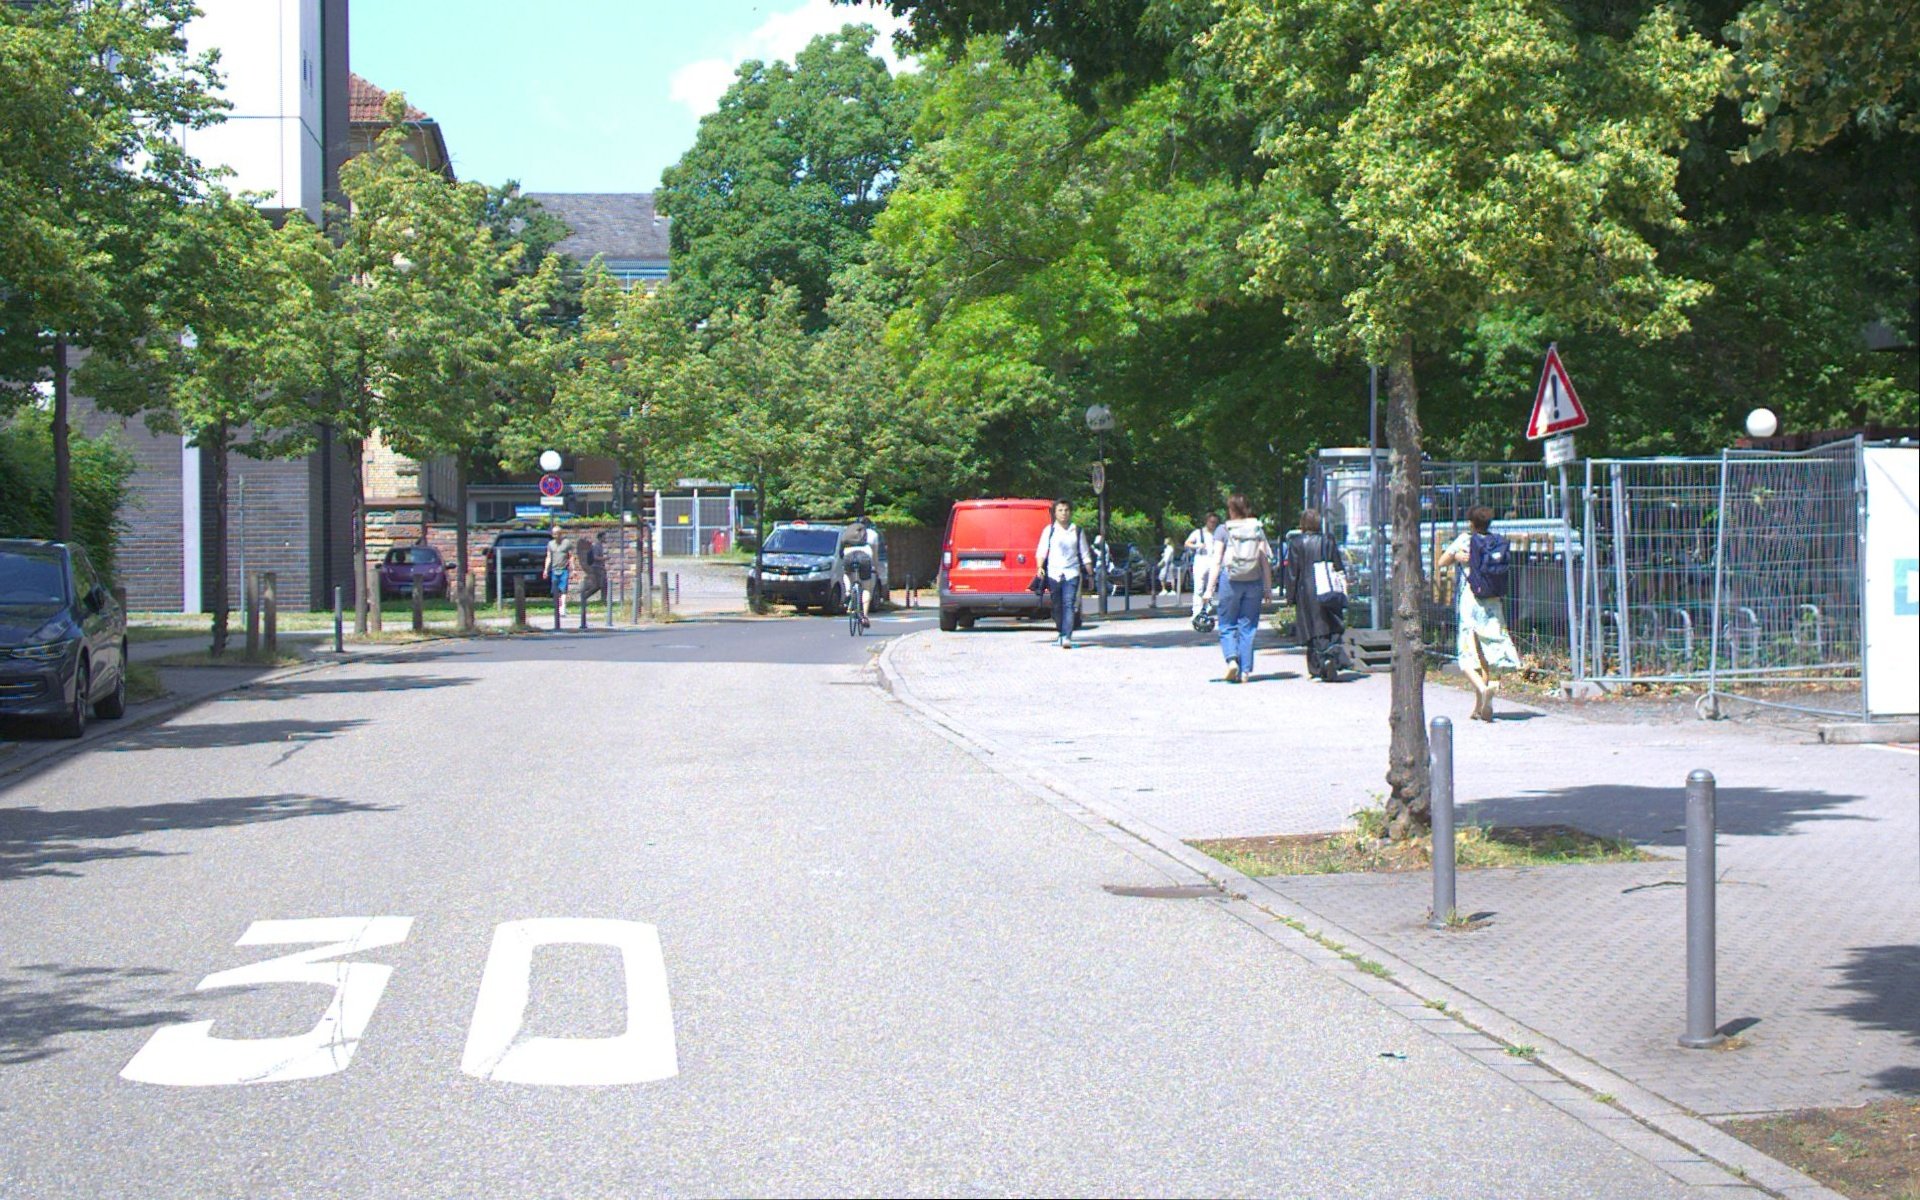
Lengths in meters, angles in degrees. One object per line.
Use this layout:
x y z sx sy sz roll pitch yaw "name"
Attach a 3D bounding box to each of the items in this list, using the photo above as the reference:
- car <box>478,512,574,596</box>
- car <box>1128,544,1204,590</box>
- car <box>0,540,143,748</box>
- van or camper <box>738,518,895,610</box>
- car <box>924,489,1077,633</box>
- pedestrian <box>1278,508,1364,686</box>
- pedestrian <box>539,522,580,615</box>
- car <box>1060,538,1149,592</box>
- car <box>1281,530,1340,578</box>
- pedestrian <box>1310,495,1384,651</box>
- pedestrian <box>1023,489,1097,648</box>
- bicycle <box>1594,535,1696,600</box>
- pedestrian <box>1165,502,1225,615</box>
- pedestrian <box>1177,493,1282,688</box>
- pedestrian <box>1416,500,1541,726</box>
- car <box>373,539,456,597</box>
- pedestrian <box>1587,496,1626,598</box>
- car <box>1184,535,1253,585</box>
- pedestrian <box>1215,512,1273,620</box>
-10.431 -1.104 82.299 2.174 1.919 5.187 -1 1 -8 "car"
6.463 -1.040 107.694 1.617 1.383 3.997 0 1 15 "car"
-7.389 0.276 26.362 1.777 1.456 4.260 1 1 -8 "car"
-3.066 -0.800 74.739 1.955 1.916 5.417 1 1 14 "van or camper"
0.625 -0.559 48.233 1.848 1.885 4.890 -1 1 4 "car"
3.300 -0.035 31.485 0.668 1.594 0.985 -1 1 0 "pedestrian"
-7.653 -0.606 65.686 0.584 1.758 0.911 -1 1 5 "pedestrian"
4.249 -1.029 100.388 1.761 1.516 4.109 0 1 15 "car"
13.353 -1.761 130.664 1.617 1.809 3.997 0 1 15 "car"
4.095 -0.287 36.438 0.713 1.626 0.711 -1 1 2 "pedestrian"
1.131 -0.358 38.829 0.695 1.775 0.786 -1 1 10 "pedestrian"
10.373 -0.489 52.100 0.512 0.953 1.809 -2 1 -25 "bicycle"
3.818 -0.673 55.802 0.721 1.815 0.630 -1 1 -42 "pedestrian"
2.476 -0.091 31.660 0.850 1.758 0.716 -1 1 -2 "pedestrian"
3.911 0.088 25.982 0.649 1.660 0.905 -1 1 -10 "pedestrian"
-12.994 -0.772 82.012 1.817 1.319 3.769 -1 1 -7 "car"
11.639 -0.955 61.920 0.543 1.831 0.762 -1 1 1 "pedestrian"
8.747 -1.363 116.066 1.617 1.673 3.997 0 1 15 "car"
4.542 -0.544 54.950 0.743 1.704 0.564 -1 1 -42 "pedestrian"
